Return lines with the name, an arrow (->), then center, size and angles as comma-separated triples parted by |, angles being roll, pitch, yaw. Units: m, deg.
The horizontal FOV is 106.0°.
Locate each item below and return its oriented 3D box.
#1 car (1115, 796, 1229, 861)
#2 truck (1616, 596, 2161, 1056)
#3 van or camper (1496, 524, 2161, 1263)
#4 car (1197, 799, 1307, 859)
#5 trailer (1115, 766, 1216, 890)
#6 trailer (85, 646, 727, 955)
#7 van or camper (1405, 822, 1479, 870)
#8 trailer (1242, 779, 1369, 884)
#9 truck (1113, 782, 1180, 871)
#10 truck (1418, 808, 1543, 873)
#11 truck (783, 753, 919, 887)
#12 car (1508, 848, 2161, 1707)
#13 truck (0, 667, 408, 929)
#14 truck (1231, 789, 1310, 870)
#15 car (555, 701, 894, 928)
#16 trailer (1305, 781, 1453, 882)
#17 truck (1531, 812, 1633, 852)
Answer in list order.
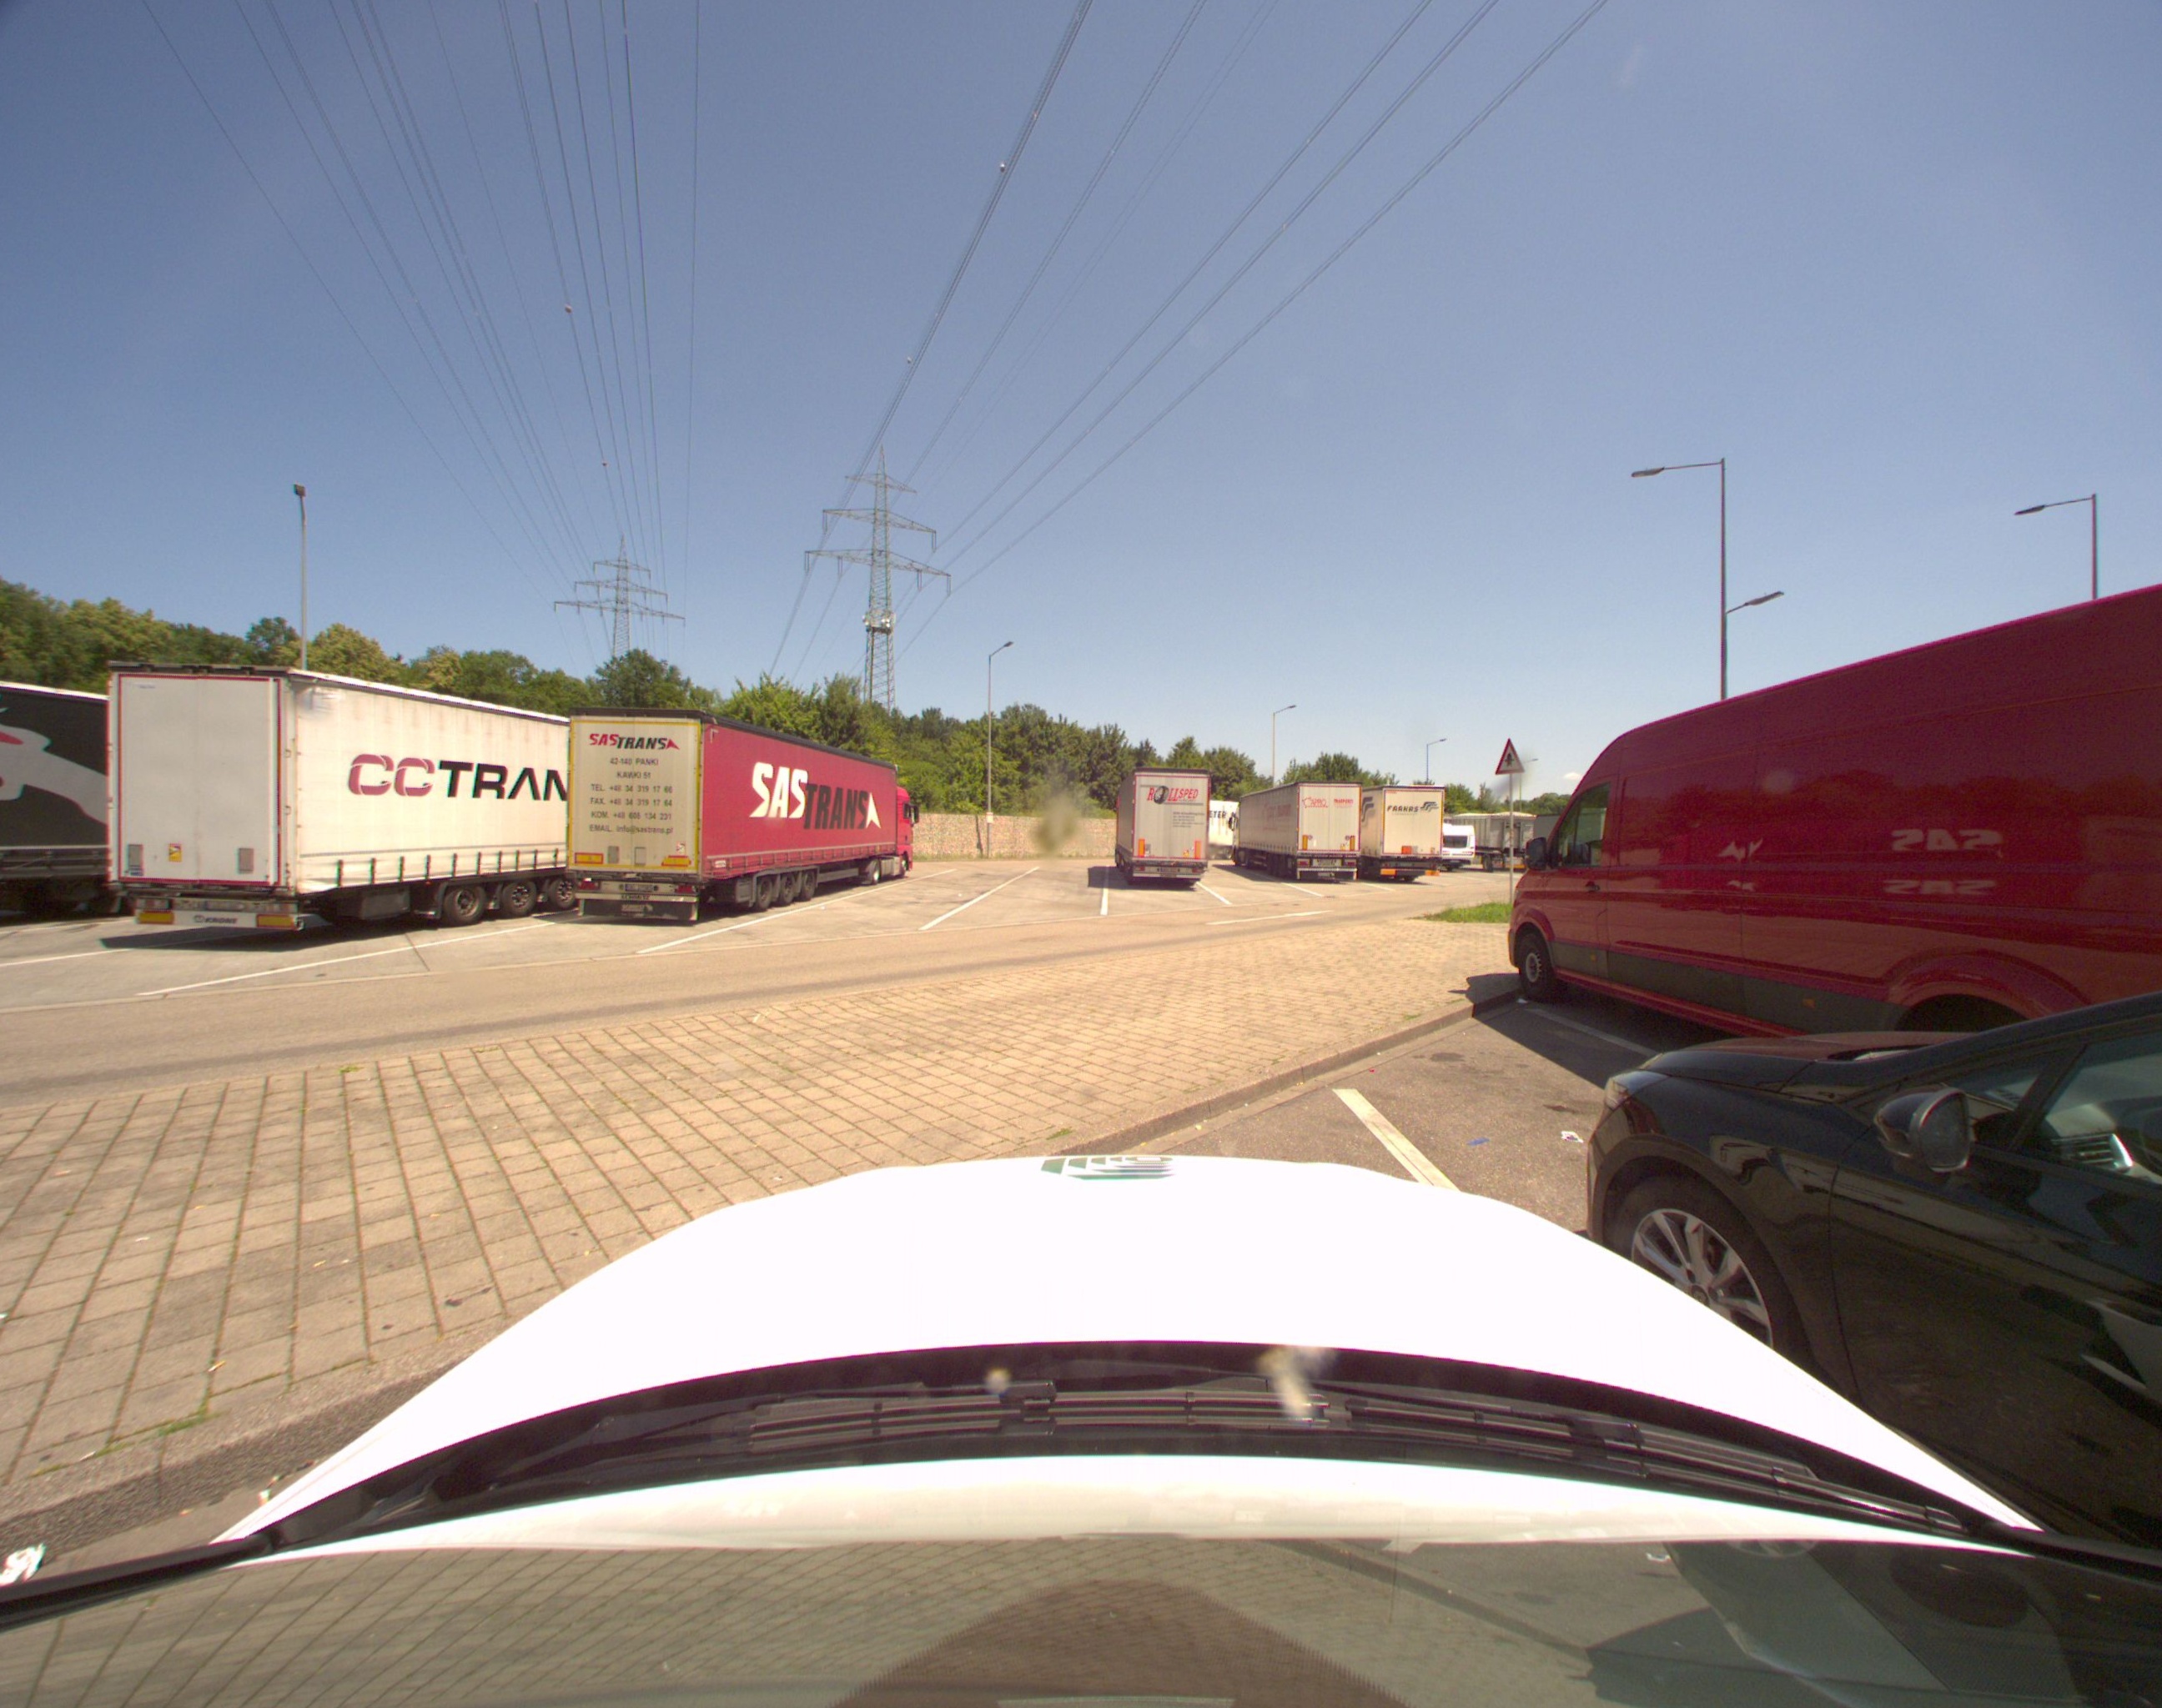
car -> 6.248, -1.684, 54.478 | 8.516, 4.043, 2.656 | -1, 3, -44
truck -> 7.939, -0.213, 7.035 | 2.455, 2.792, 6.978 | 0, 1, 4
van or camper -> 5.138, 0.098, 5.463 | 1.986, 2.654, 6.490 | -1, 1, 6
car -> 12.992, -1.864, 61.040 | 10.276, 4.188, 2.656 | -1, 3, -45
trailer -> 3.051, -1.106, 33.700 | 2.857, 4.037, 14.244 | 0, 2, 1
trailer -> -12.160, -0.979, 17.763 | 2.803, 4.266, 12.947 | 0, 2, 2
van or camper -> 20.599, -0.467, 46.708 | 2.096, 2.561, 5.376 | -1, 1, 3
trailer -> 9.961, -1.105, 37.871 | 2.855, 4.037, 12.445 | 0, 2, 2
truck -> 3.146, -1.395, 40.788 | 2.857, 4.037, 7.029 | 0, 2, 1
truck -> 24.309, -0.958, 50.467 | 2.478, 3.568, 11.429 | 0, 2, 2
truck -> -7.745, -1.156, 28.323 | 2.686, 4.112, 6.243 | 1, 2, 2
car -> 2.453, 0.753, 1.112 | 1.612, 1.483, 3.762 | -1, 1, -4
truck -> -18.616, -1.026, 16.246 | 2.803, 4.190, 8.793 | 0, 2, 2
truck -> 10.188, -1.369, 44.503 | 2.856, 4.037, 6.960 | 0, 2, 2
car -> -8.046, -0.937, 21.406 | 2.686, 4.112, 12.943 | 1, 2, 2
trailer -> 13.648, -1.125, 38.846 | 2.855, 4.037, 12.445 | 0, 2, 2
truck -> 38.046, -1.644, 62.342 | 2.117, 2.820, 9.783 | -1, 1, 2
